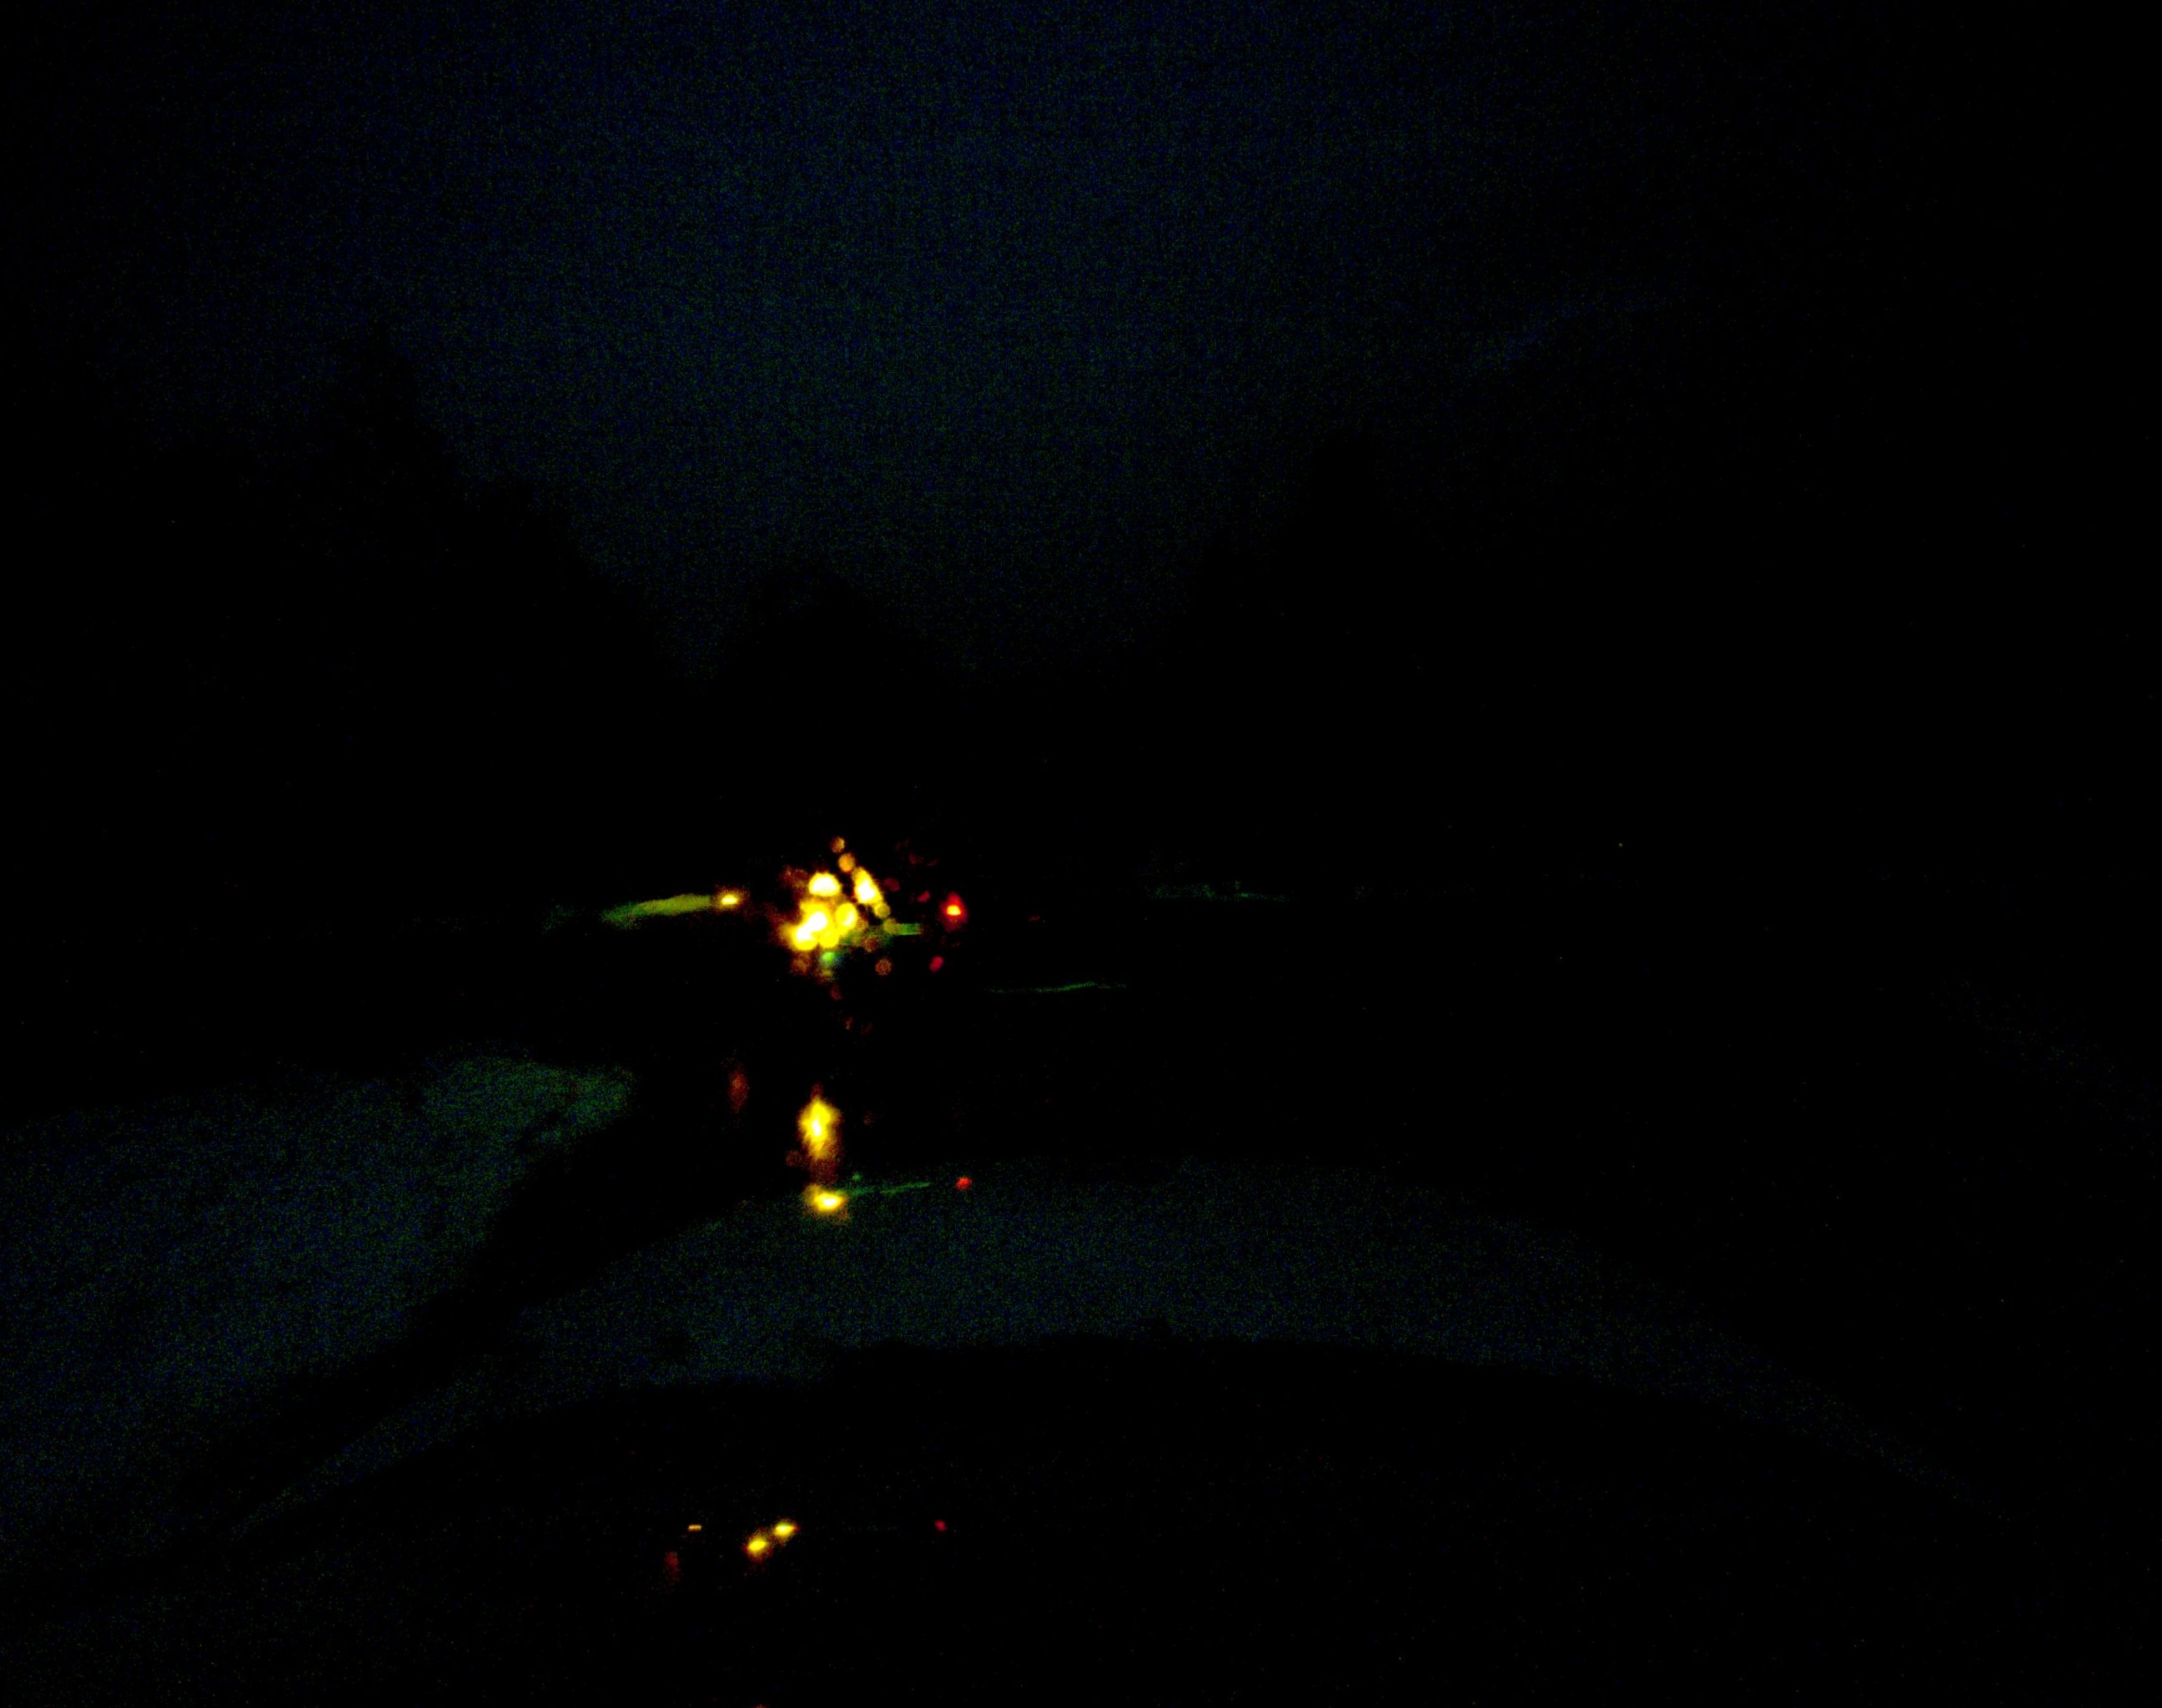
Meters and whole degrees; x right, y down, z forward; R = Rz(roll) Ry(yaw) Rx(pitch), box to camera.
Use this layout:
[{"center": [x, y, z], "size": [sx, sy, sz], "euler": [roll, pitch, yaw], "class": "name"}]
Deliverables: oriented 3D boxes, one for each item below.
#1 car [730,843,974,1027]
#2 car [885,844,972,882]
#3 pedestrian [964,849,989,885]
[{"center": [-2.698, 0.684, 8.939], "size": [1.703, 1.552, 3.819], "euler": [0, 0, -30], "class": "car"}, {"center": [-7.824, 0.494, 41.988], "size": [3.923, 1.881, 2.005], "euler": [-1, -1, 9], "class": "car"}, {"center": [-5.295, 0.652, 41.261], "size": [0.953, 1.828, 0.928], "euler": [-1, -1, 14], "class": "pedestrian"}]
